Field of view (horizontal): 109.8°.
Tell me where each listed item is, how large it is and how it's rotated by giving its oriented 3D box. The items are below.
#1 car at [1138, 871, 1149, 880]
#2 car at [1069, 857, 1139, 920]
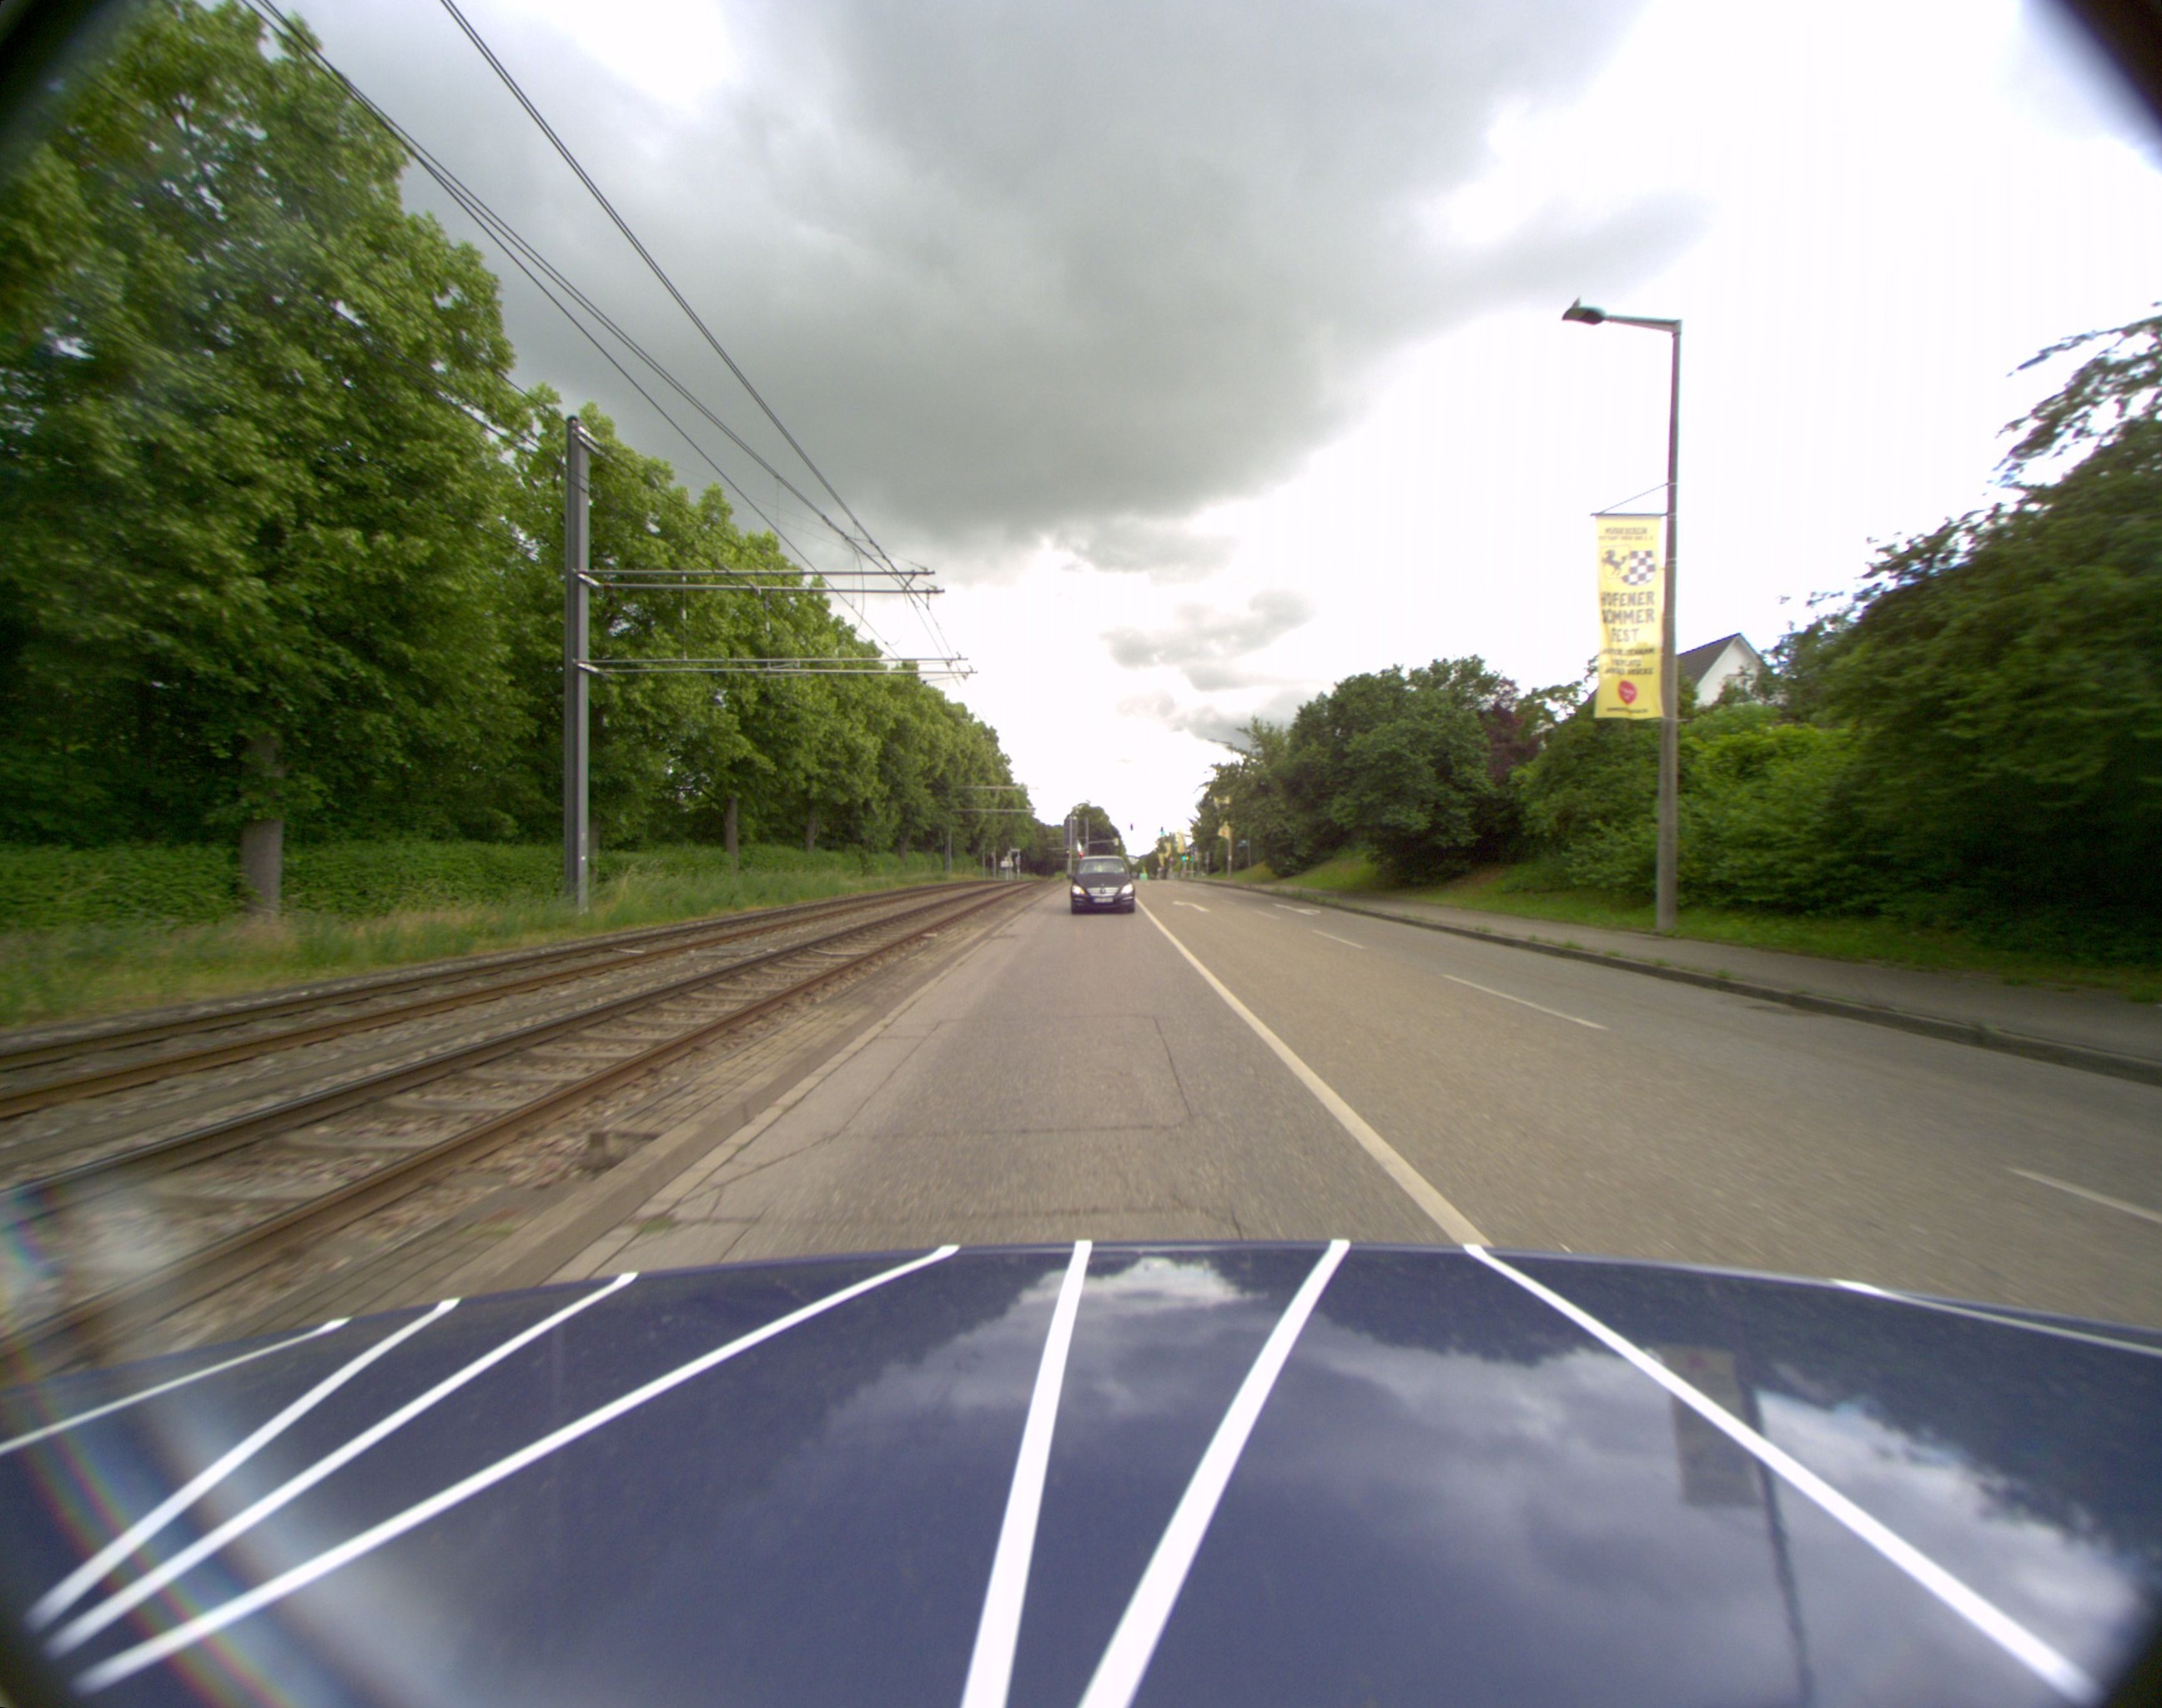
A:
[{"bbox_3d":[13.566,4.627,165.224,2.063,1.799,4.731,1,-1,3],"label":"car"},{"bbox_3d":[0.652,0.881,21.049,1.749,1.558,4.122,-1,0,2],"label":"car"}]
